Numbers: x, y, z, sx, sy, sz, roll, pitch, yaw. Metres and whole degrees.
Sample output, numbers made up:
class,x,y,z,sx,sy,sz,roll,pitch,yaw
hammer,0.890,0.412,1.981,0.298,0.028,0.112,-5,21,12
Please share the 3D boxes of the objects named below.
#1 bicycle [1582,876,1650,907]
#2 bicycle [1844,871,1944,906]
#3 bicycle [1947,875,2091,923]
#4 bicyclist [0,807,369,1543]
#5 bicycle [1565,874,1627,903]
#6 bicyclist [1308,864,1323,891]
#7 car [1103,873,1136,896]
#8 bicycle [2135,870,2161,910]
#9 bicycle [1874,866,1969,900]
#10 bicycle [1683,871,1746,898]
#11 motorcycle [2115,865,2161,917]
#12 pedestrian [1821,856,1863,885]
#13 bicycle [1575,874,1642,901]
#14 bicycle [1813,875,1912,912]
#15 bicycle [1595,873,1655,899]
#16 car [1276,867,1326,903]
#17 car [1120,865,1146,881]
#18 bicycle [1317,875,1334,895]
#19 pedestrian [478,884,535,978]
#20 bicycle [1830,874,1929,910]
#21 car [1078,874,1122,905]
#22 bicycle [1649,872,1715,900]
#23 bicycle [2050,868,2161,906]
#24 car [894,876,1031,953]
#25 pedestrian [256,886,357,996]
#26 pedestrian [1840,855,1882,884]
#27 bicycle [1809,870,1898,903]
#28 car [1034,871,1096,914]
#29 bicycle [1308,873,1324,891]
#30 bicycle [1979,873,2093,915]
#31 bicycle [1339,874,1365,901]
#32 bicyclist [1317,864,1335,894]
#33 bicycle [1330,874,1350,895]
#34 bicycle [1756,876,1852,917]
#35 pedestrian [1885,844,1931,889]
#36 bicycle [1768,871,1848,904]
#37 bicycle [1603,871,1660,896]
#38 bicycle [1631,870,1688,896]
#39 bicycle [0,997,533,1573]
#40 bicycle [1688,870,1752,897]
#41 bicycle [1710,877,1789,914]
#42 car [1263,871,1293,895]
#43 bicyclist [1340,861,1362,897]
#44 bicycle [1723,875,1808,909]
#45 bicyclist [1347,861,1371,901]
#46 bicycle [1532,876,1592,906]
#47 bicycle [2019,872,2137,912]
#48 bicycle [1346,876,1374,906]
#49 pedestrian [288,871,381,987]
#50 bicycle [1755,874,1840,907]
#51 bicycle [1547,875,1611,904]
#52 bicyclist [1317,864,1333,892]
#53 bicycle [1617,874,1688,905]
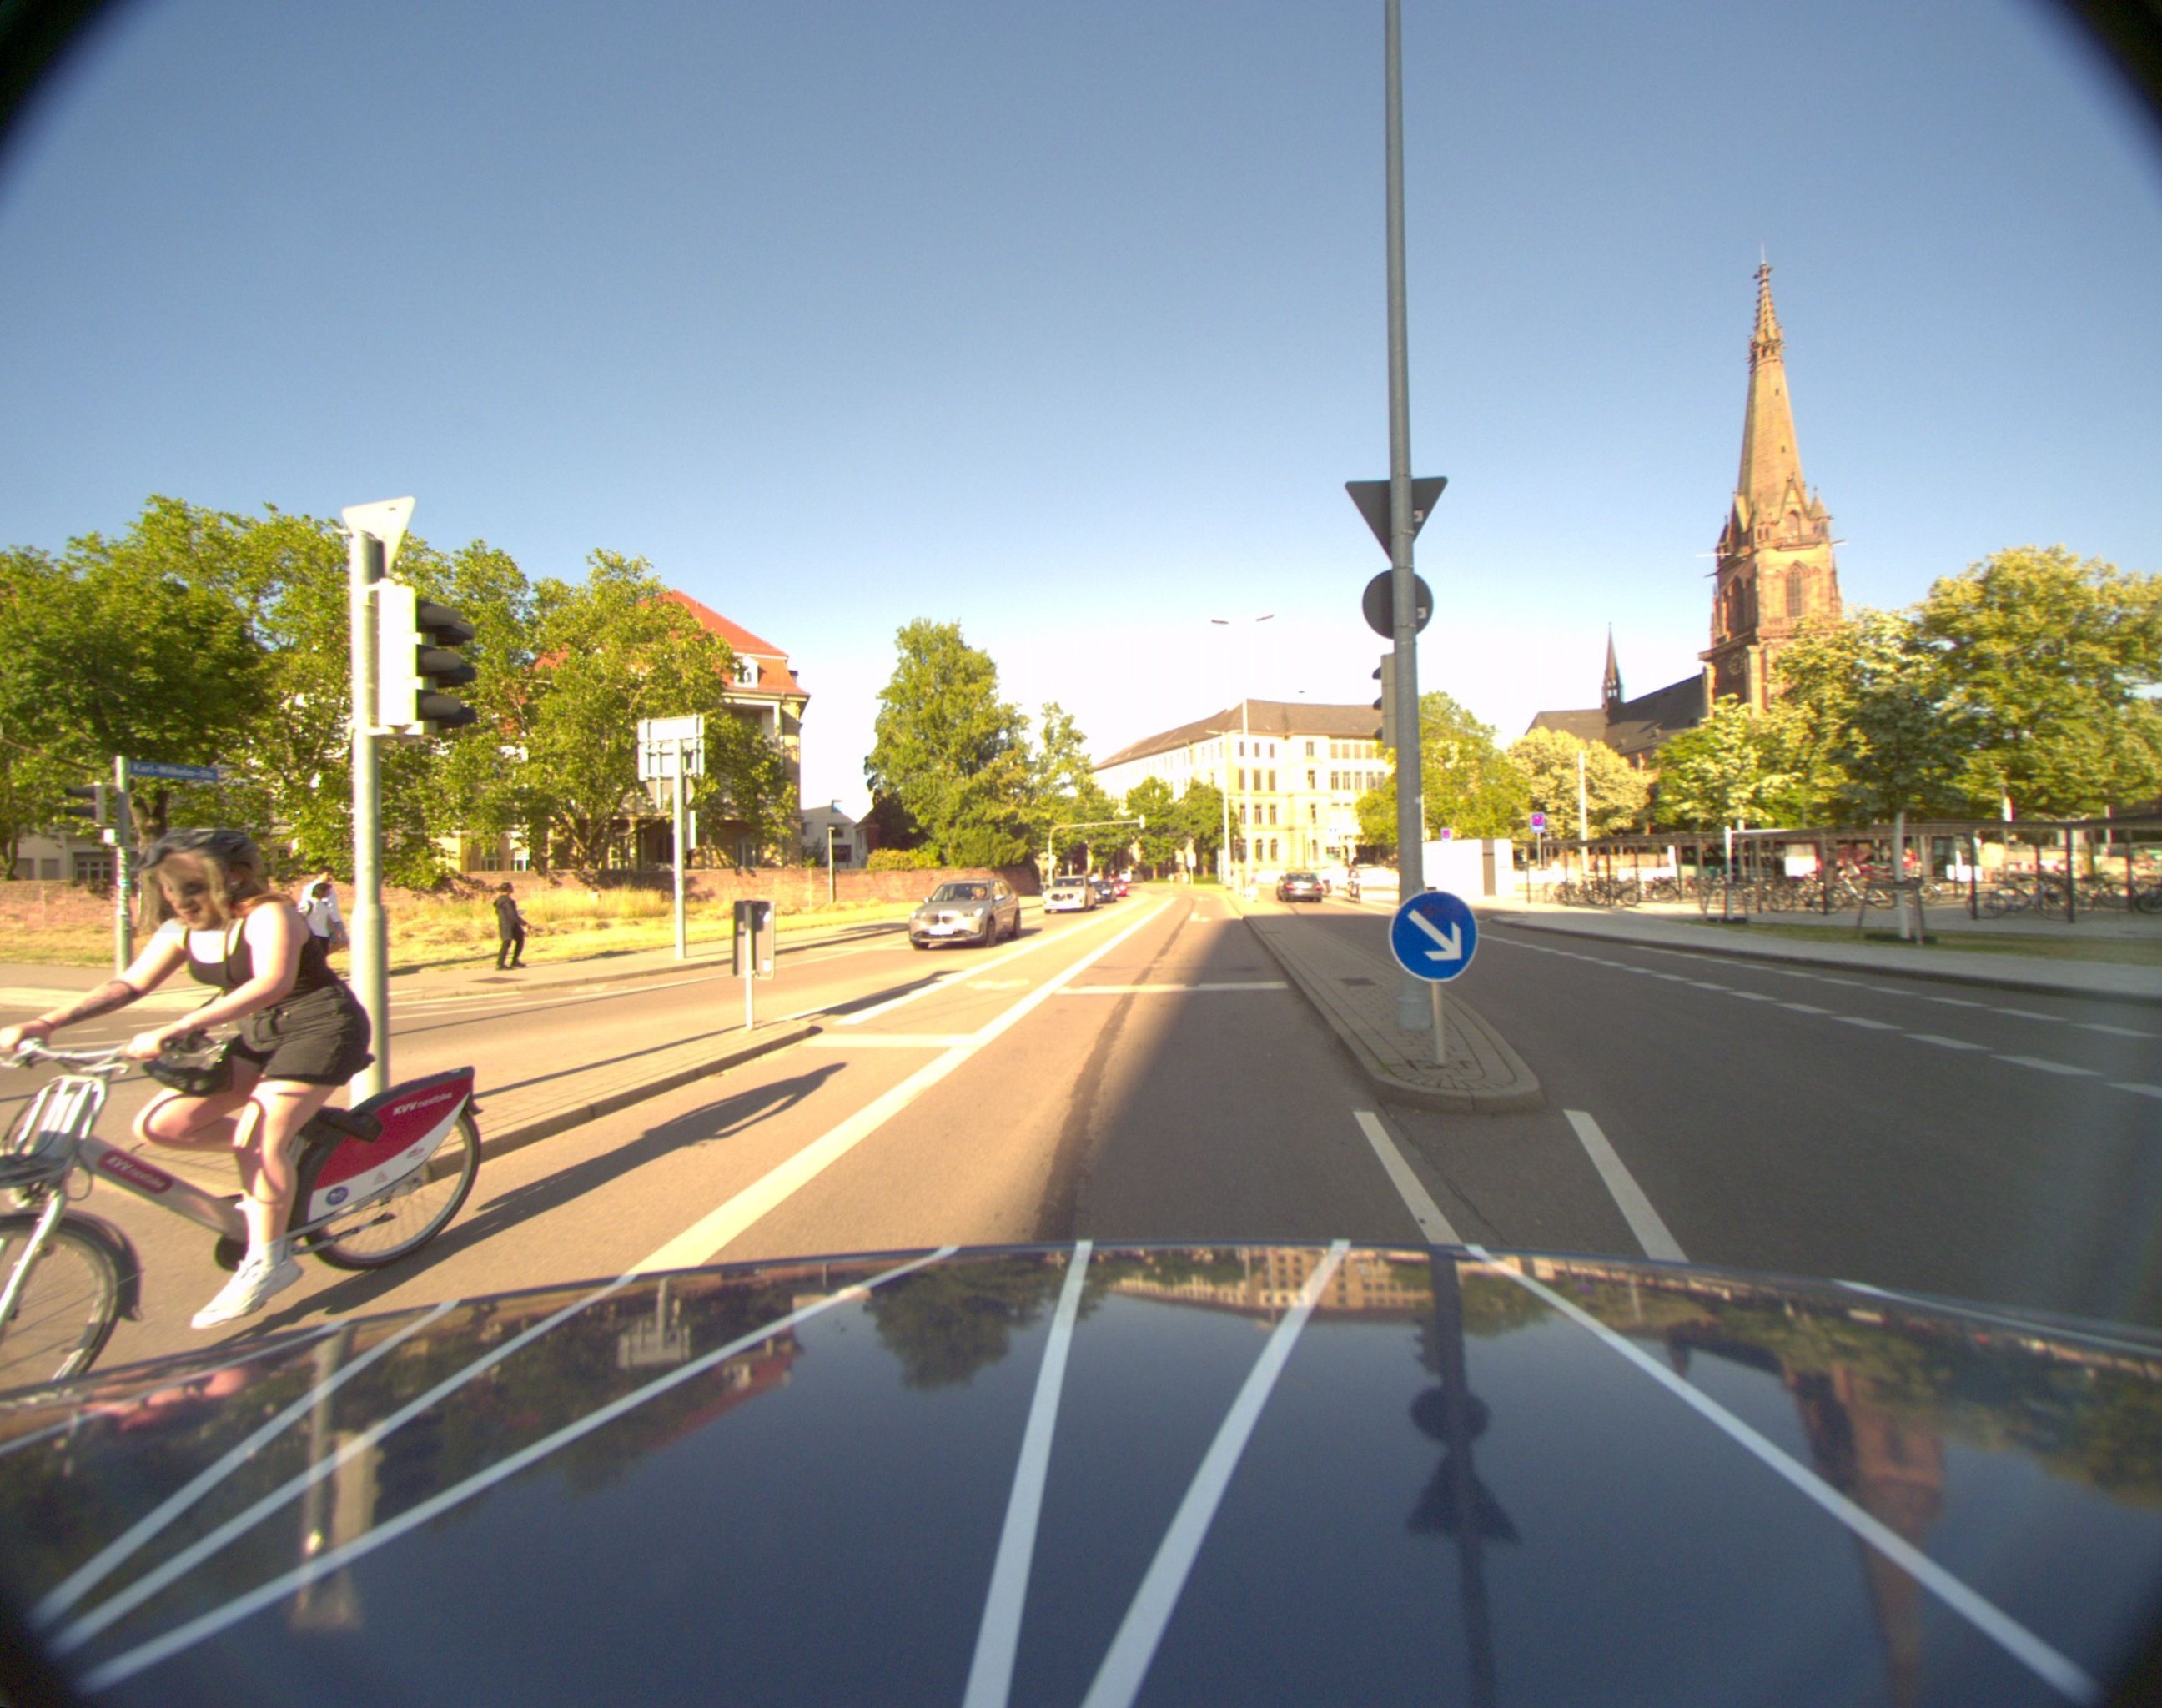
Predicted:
class,x,y,z,sx,sy,sz,roll,pitch,yaw
bicycle,19.493,1.361,27.725,0.568,1.048,1.969,-3,1,-28
bicycle,26.298,1.084,24.618,0.605,1.037,2.103,-3,1,-28
bicycle,23.317,1.108,18.940,0.746,1.099,2.120,-3,-1,-29
bicyclist,-2.929,0.785,2.282,0.716,1.777,0.850,-2,0,8
bicycle,20.539,1.362,30.344,0.683,1.048,1.933,-3,1,-25
bicyclist,15.028,1.494,48.641,0.864,1.643,0.945,-1,0,16
car,2.979,2.300,58.170,2.193,1.576,4.609,-3,-1,6
bicycle,28.713,0.937,19.534,0.523,1.037,1.844,-3,1,-29
bicycle,28.430,0.971,25.758,0.567,1.083,2.067,-3,1,-27
bicycle,25.766,1.223,30.946,0.418,1.048,1.969,-3,1,-25
motorcycle,27.112,0.893,18.366,0.720,1.240,2.353,-3,-1,-24
pedestrian,37.089,0.803,37.047,1.054,1.341,1.077,-3,-1,-23
bicycle,21.777,1.365,31.423,0.839,1.048,2.115,-3,1,-28
bicycle,23.986,1.178,23.366,0.605,1.037,2.030,-3,1,-25
bicycle,22.927,1.333,32.050,0.512,1.048,1.969,-3,1,-33
car,10.318,1.435,35.945,1.804,1.436,3.980,-2,1,10
car,7.623,2.771,111.123,1.994,2.003,4.158,-2,3,34
bicycle,14.560,1.823,45.249,0.881,1.091,2.191,-1,-1,16
pedestrian,-10.620,1.396,14.066,0.795,1.643,0.710,1,1,-36
bicycle,25.000,1.161,23.840,0.605,1.037,2.030,-3,1,-22
car,1.186,2.084,45.212,2.193,1.576,4.609,-3,-1,6
bicycle,23.784,1.245,30.112,0.568,1.048,1.969,-3,1,-28
bicycle,29.993,0.932,22.251,0.523,1.037,1.928,-3,1,-27
car,-2.758,1.395,18.885,2.153,1.610,4.366,-1,-1,8
pedestrian,-12.430,1.379,12.222,0.873,1.664,0.712,1,1,-15
pedestrian,38.315,0.751,37.310,1.054,1.341,1.077,-3,-1,-23
bicycle,26.786,1.107,26.382,0.567,1.083,2.067,-3,1,-27
car,-0.634,1.715,34.847,2.193,1.674,4.609,-3,-1,6
bicycle,15.001,1.780,48.526,0.881,1.091,2.191,-1,-1,16
bicycle,25.623,1.059,20.433,0.524,1.037,1.844,-3,1,-31
bicycle,13.007,1.604,36.543,0.764,1.179,2.608,-3,-1,12
bicyclist,13.497,1.365,41.863,0.864,1.643,0.945,-1,0,16
bicycle,14.173,1.654,41.628,0.881,1.091,2.191,-1,-1,16
bicycle,21.506,1.238,22.640,0.568,1.099,1.969,-3,1,-26
pedestrian,38.238,0.594,35.124,1.136,2.001,1.028,-3,-1,-23
bicycle,25.370,1.156,26.547,0.537,1.083,1.928,-3,1,-27
bicycle,24.169,1.286,33.391,0.498,1.048,1.969,-3,1,-29
bicycle,25.036,1.228,32.896,0.418,1.048,1.969,-3,1,-25
bicycle,-2.915,1.191,2.351,0.718,1.115,2.068,-2,0,8
bicycle,26.150,1.205,31.132,0.418,1.048,1.969,-3,1,-25
bicycle,21.202,1.283,24.140,0.486,1.099,1.797,-3,1,-32
car,12.254,1.783,47.415,1.382,1.330,3.506,-1,-1,7
bicyclist,12.980,1.187,36.527,0.764,1.658,1.063,-3,-1,12
bicycle,22.836,1.235,25.385,0.867,1.037,1.928,-3,1,-28
bicyclist,12.225,1.177,33.454,0.764,1.658,1.063,-3,-1,12
bicycle,18.354,1.400,29.062,0.567,1.048,1.970,-3,1,-20
bicycle,27.896,1.034,21.305,0.523,1.037,1.928,-3,1,-27
bicycle,12.255,1.593,33.450,0.764,1.179,2.608,-3,-1,12
pedestrian,-12.653,1.250,12.903,0.873,1.883,0.711,1,1,-15
bicycle,24.267,1.208,25.759,0.768,1.037,1.928,-3,1,-28
bicycle,19.623,1.367,30.000,0.683,1.048,2.019,-3,1,-25
bicyclist,14.531,1.419,45.273,0.864,1.643,0.945,-2,0,17
bicycle,21.459,1.310,28.570,0.759,1.048,1.969,-3,1,-26
